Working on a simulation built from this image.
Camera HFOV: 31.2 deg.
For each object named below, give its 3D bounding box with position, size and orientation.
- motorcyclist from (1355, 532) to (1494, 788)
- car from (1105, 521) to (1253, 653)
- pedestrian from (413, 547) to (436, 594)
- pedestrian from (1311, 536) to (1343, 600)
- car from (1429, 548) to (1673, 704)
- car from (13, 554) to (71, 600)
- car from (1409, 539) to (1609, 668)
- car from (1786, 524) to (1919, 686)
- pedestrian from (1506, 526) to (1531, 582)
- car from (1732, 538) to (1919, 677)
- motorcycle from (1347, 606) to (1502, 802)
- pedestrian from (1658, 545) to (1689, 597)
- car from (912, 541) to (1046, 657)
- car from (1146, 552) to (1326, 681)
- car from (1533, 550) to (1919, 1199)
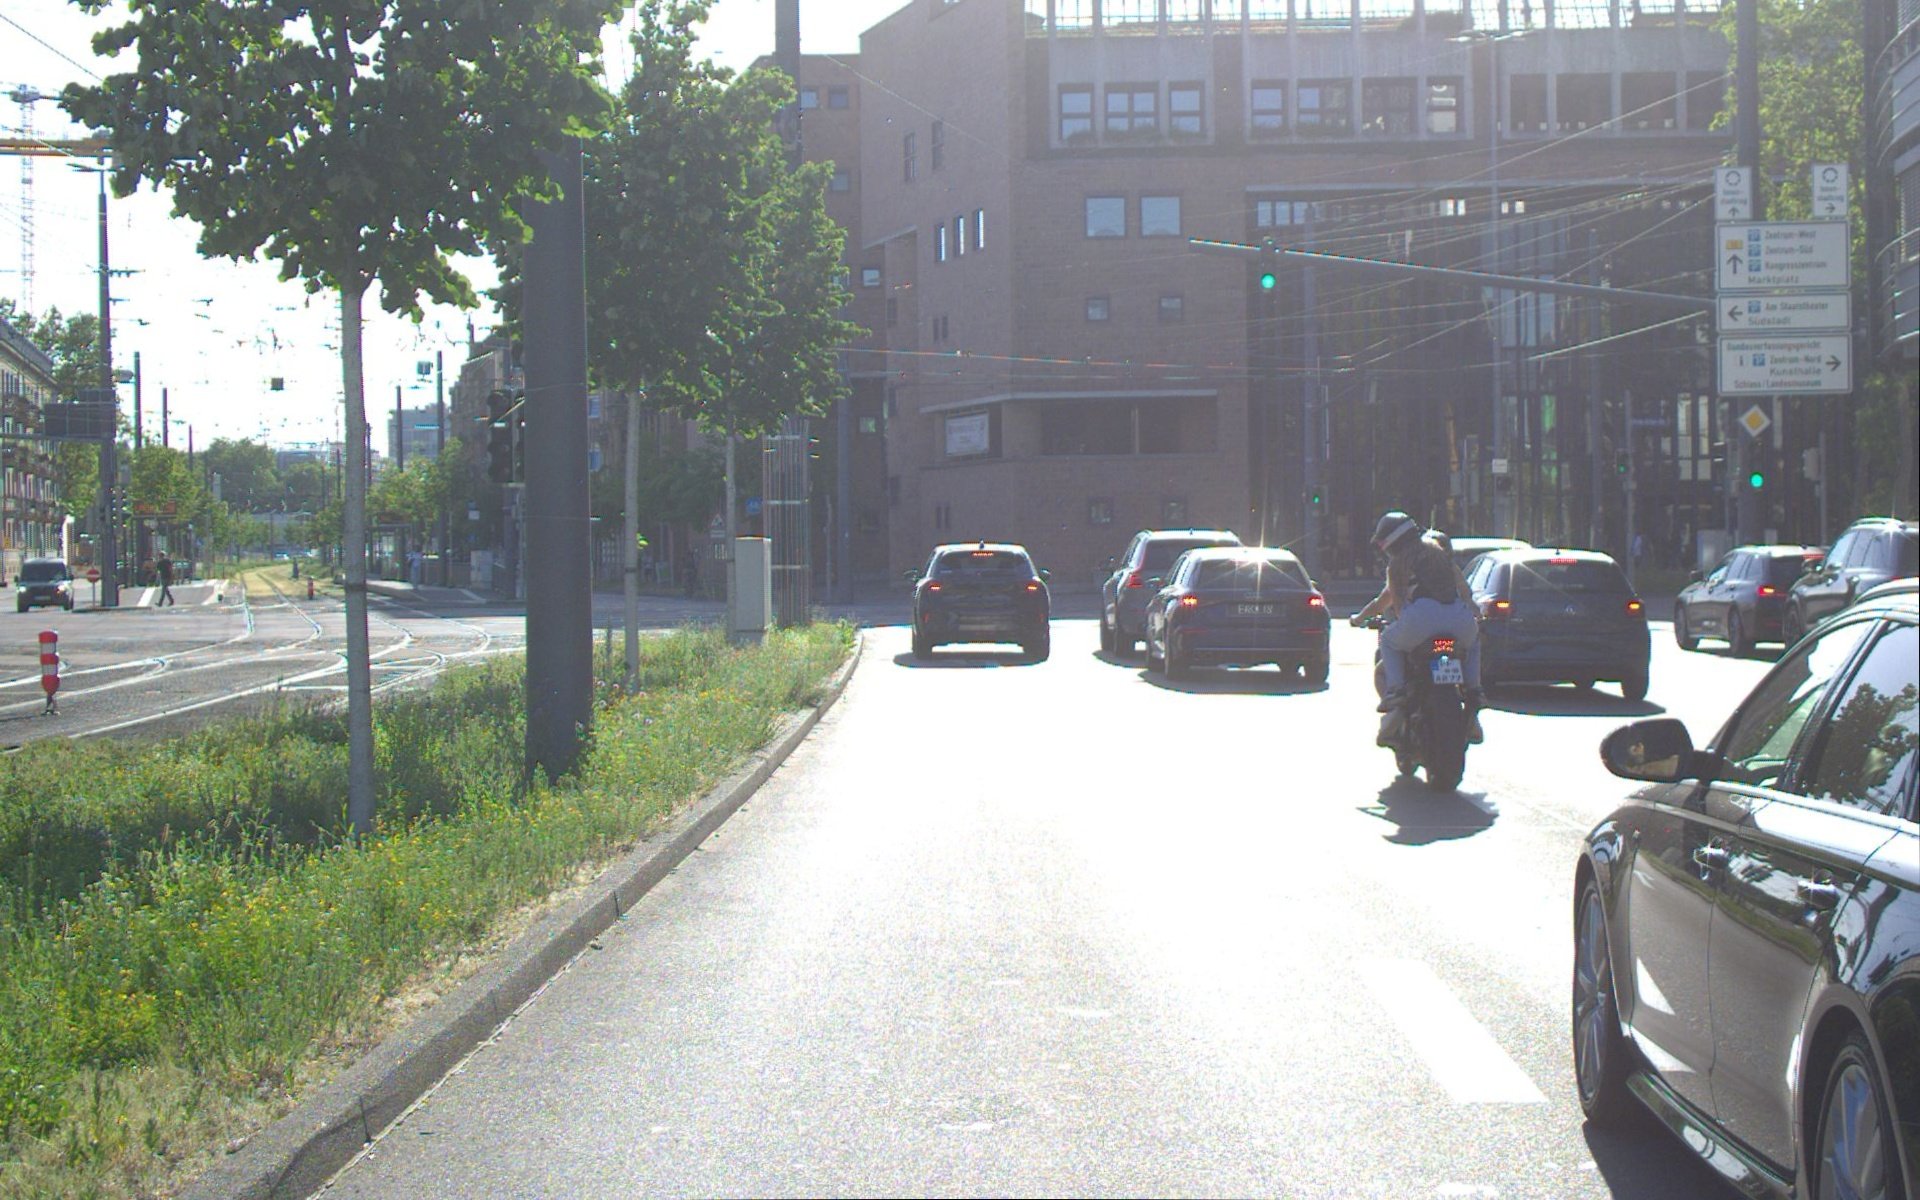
[{"bbox_3d":[2.842,0.353,21.123,0.745,1.525,1.021,-1,1,3],"label":"motorcyclist"},{"bbox_3d":[2.843,-0.190,45.236,1.737,1.645,4.000,-1,1,1],"label":"car"},{"bbox_3d":[-19.068,-1.057,122.361,0.742,1.634,0.768,-1,1,-13],"label":"pedestrian"},{"bbox_3d":[10.164,-0.882,95.150,0.707,1.753,0.560,0,1,25],"label":"pedestrian"},{"bbox_3d":[5.892,0.218,34.677,1.807,1.452,4.000,0,1,1],"label":"car"},{"bbox_3d":[-31.021,-0.794,116.129,1.744,1.499,3.882,-1,1,-17],"label":"car"},{"bbox_3d":[6.555,0.005,41.417,1.807,1.452,4.000,0,1,1],"label":"car"},{"bbox_3d":[10.998,0.009,39.238,1.993,1.744,4.329,-1,1,-1],"label":"car"},{"bbox_3d":[14.465,-1.192,89.077,0.529,1.425,0.598,-1,1,0],"label":"pedestrian"},{"bbox_3d":[11.045,0.057,43.322,1.994,1.645,4.000,-1,1,4],"label":"car"},{"bbox_3d":[2.857,0.619,21.328,0.775,1.111,1.969,-1,1,3],"label":"motorcycle"},{"bbox_3d":[21.993,-0.895,106.008,0.900,1.611,0.560,-1,1,9],"label":"pedestrian"},{"bbox_3d":[0.270,-0.043,44.592,1.649,1.428,4.000,-1,1,1],"label":"car"},{"bbox_3d":[3.029,0.146,38.328,1.737,1.345,4.000,-1,1,1],"label":"car"},{"bbox_3d":[2.412,0.669,6.983,1.811,1.487,4.496,1,1,1],"label":"car"}]
